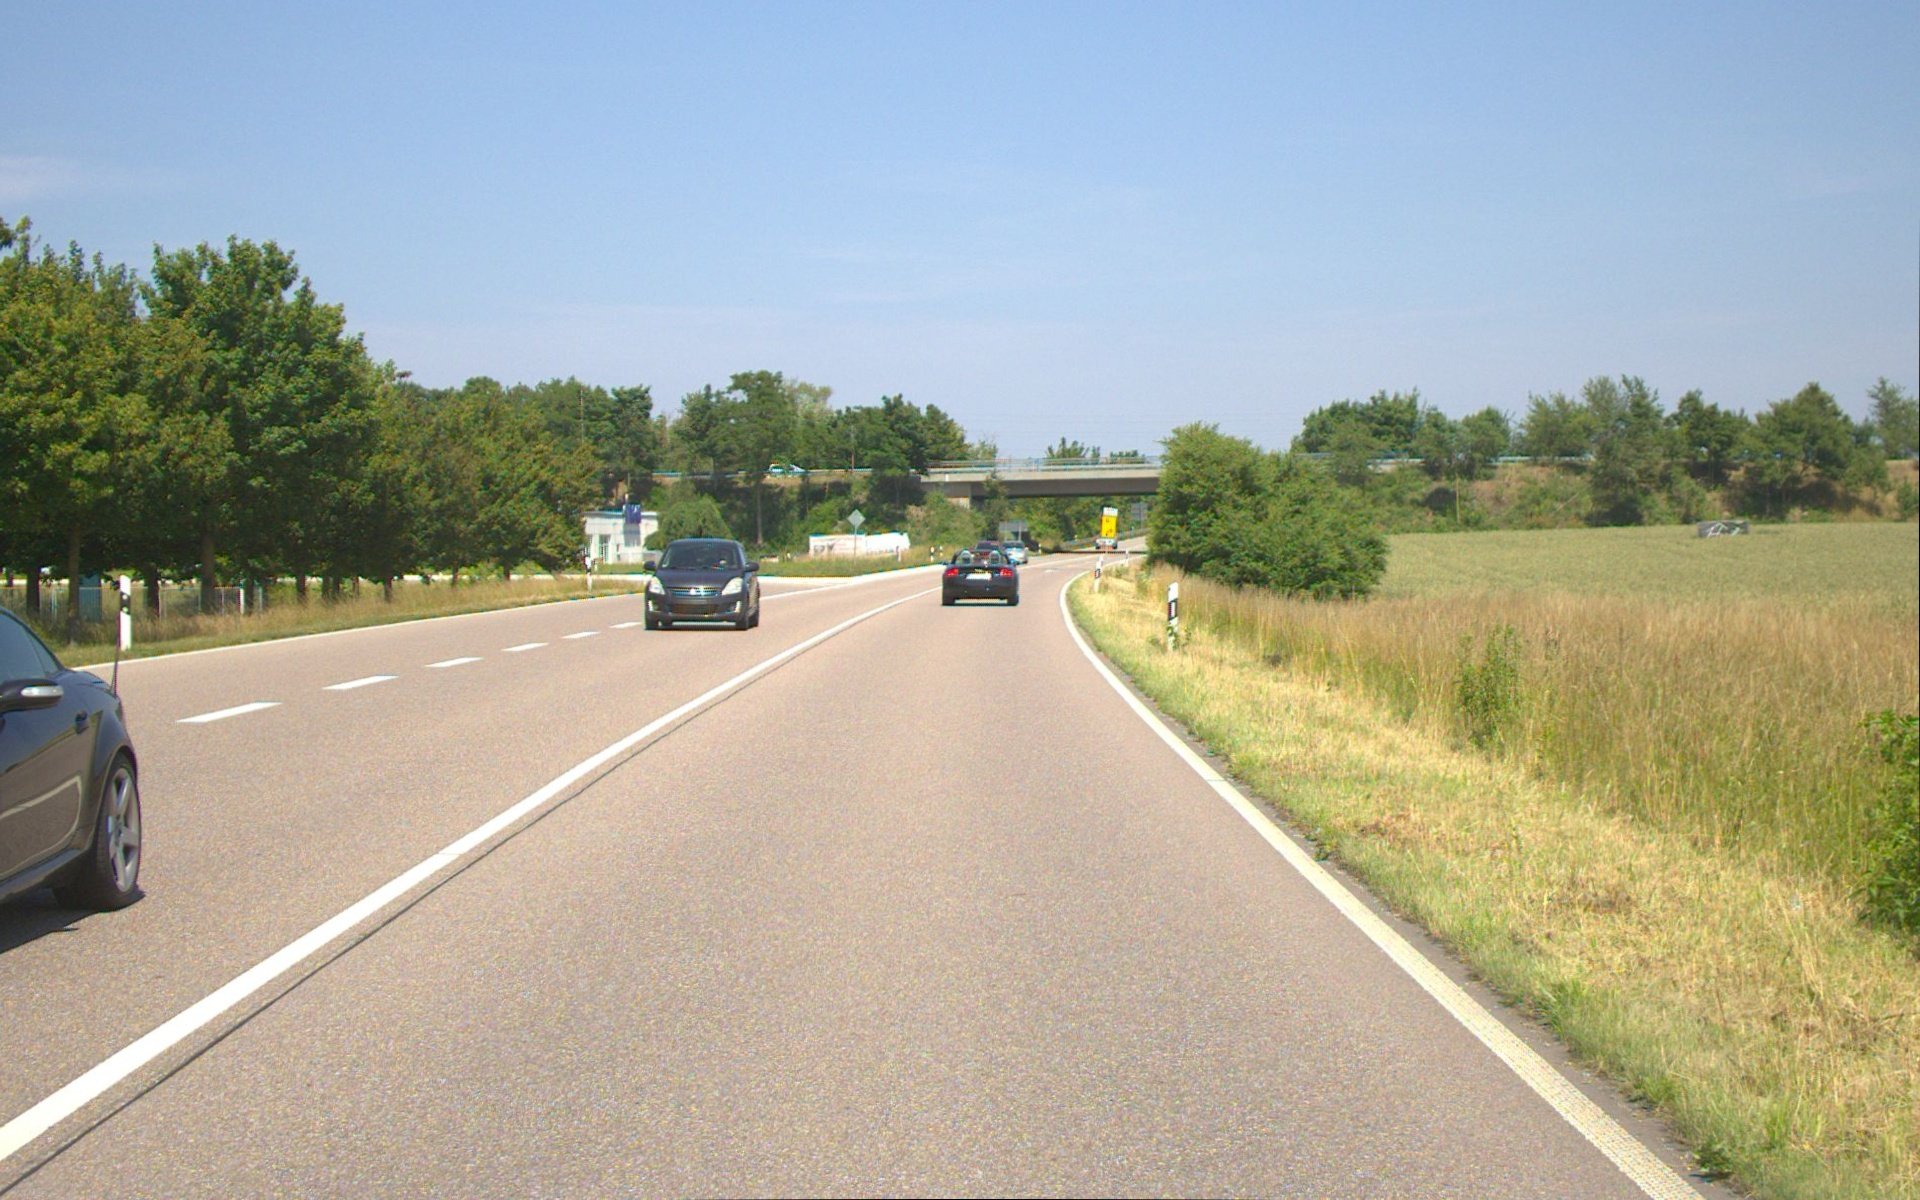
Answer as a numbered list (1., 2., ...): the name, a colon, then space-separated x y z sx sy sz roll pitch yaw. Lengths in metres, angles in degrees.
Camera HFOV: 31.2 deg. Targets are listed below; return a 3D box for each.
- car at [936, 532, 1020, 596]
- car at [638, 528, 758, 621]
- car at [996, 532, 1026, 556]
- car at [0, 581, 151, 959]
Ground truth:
1. car: 0.390 -0.845 80.186 1.814 1.436 4.000 1 1 -1
2. car: -4.348 -0.450 57.560 1.680 1.494 3.886 0 1 0
3. car: 3.111 -3.456 211.146 1.742 1.407 4.625 1 1 0
4. car: -4.155 0.593 12.472 1.636 1.264 3.812 0 1 -2
